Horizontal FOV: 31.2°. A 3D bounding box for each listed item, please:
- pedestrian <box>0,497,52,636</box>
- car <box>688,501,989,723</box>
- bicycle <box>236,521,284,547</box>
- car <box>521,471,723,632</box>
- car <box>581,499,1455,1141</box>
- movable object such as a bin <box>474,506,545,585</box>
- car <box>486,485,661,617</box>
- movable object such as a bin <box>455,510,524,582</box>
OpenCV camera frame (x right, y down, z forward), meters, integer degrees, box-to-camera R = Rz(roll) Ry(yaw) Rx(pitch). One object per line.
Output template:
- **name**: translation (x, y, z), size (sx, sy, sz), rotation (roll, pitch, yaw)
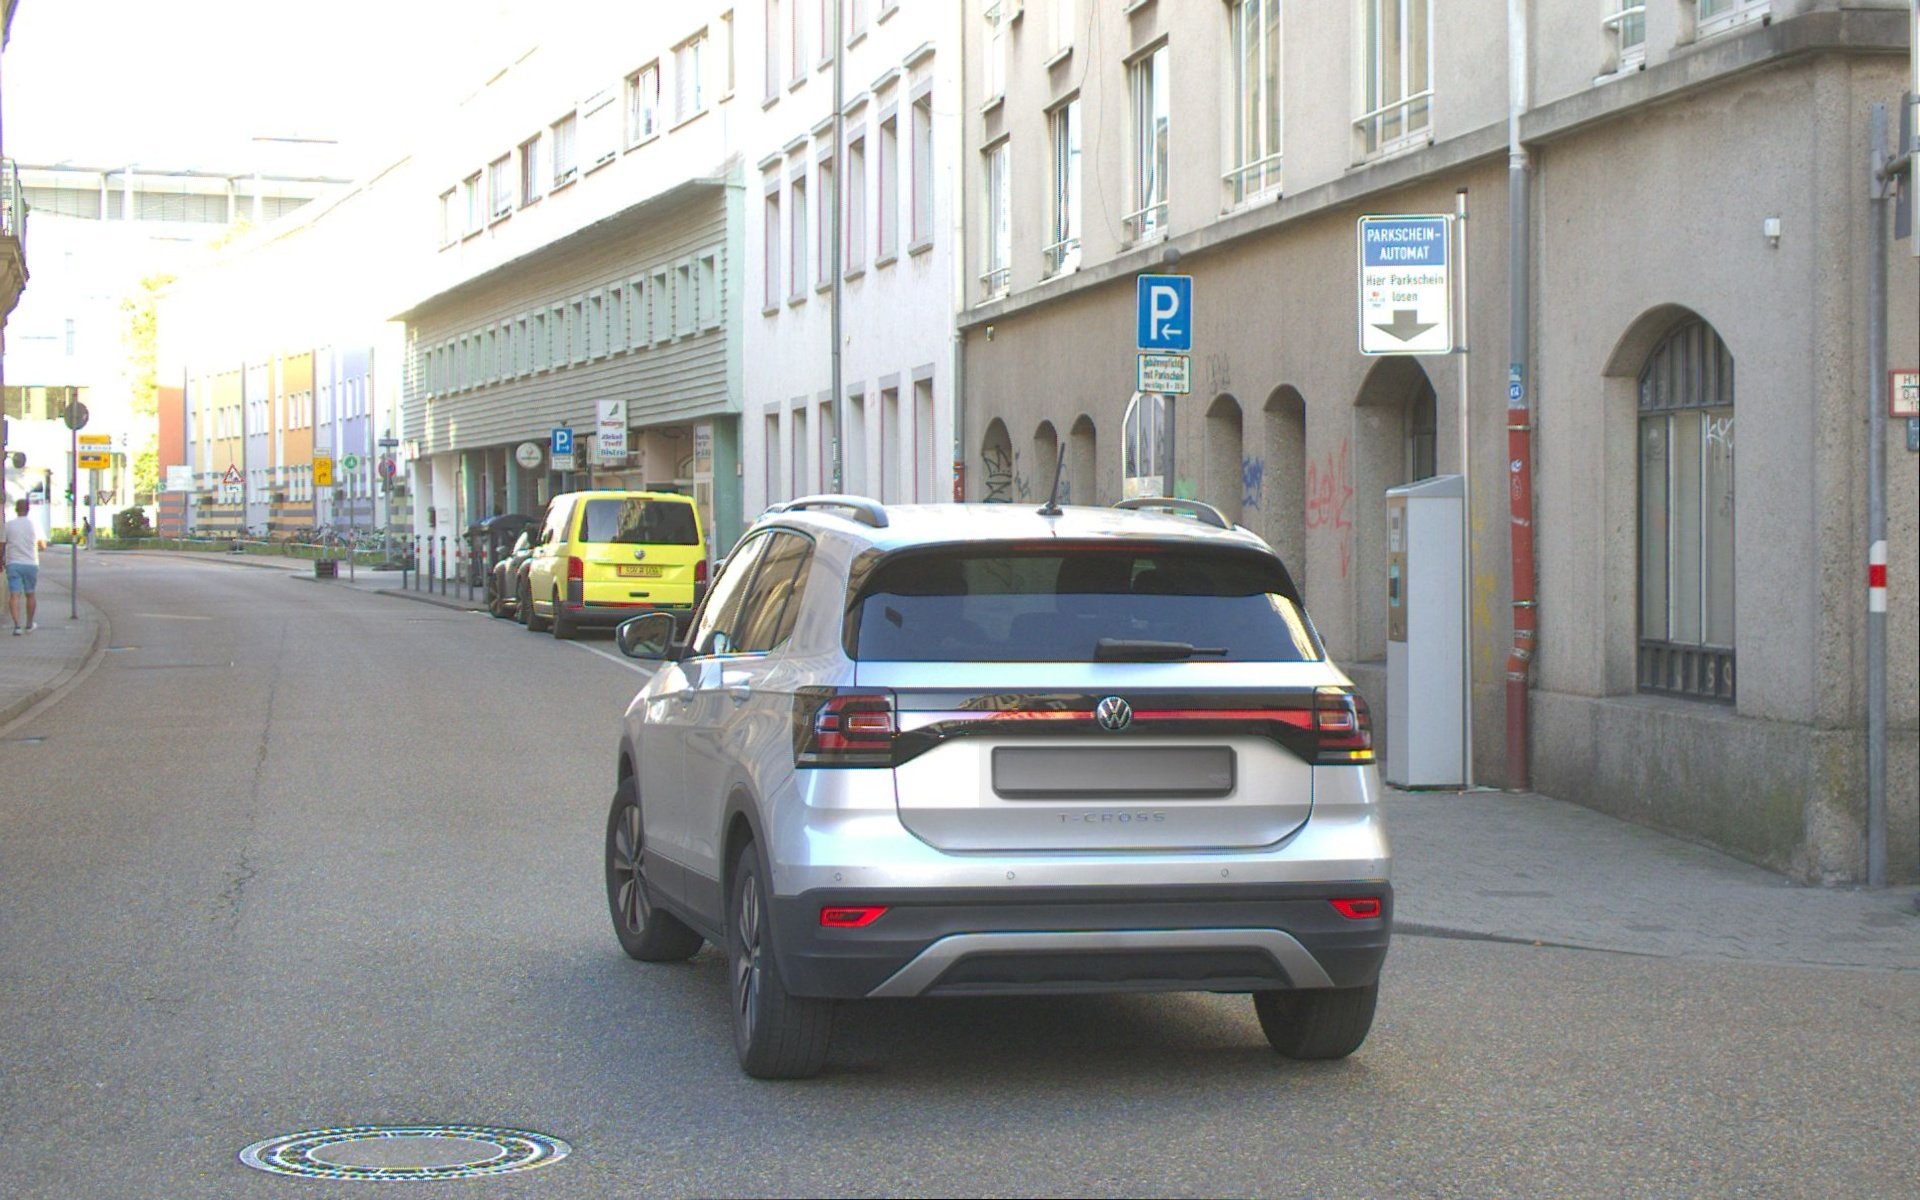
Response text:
- **pedestrian**: translation (-11.724, -0.418, 42.895), size (0.765, 1.718, 0.687), rotation (0, 1, -15)
- **car**: translation (-1.097, 0.040, 28.736), size (1.967, 1.686, 4.102), rotation (1, 1, -9)
- **bicycle**: translation (-27.112, -2.546, 133.180), size (1.780, 0.997, 0.547), rotation (0, 1, -15)
- **car**: translation (-4.487, -0.671, 45.106), size (2.052, 2.006, 4.176), rotation (0, 2, -14)
- **car**: translation (-0.045, 0.482, 10.550), size (1.836, 1.557, 4.001), rotation (-1, 2, -12)
- **movable object such as a bin**: translation (-9.069, -1.103, 69.218), size (1.131, 1.552, 1.740), rotation (0, 1, -17)
- **car**: translation (-5.768, -0.749, 50.859), size (2.052, 1.866, 4.102), rotation (0, 2, -14)
- **movable object such as a bin**: translation (-9.710, -1.124, 70.904), size (1.131, 1.474, 1.740), rotation (0, 1, -17)
